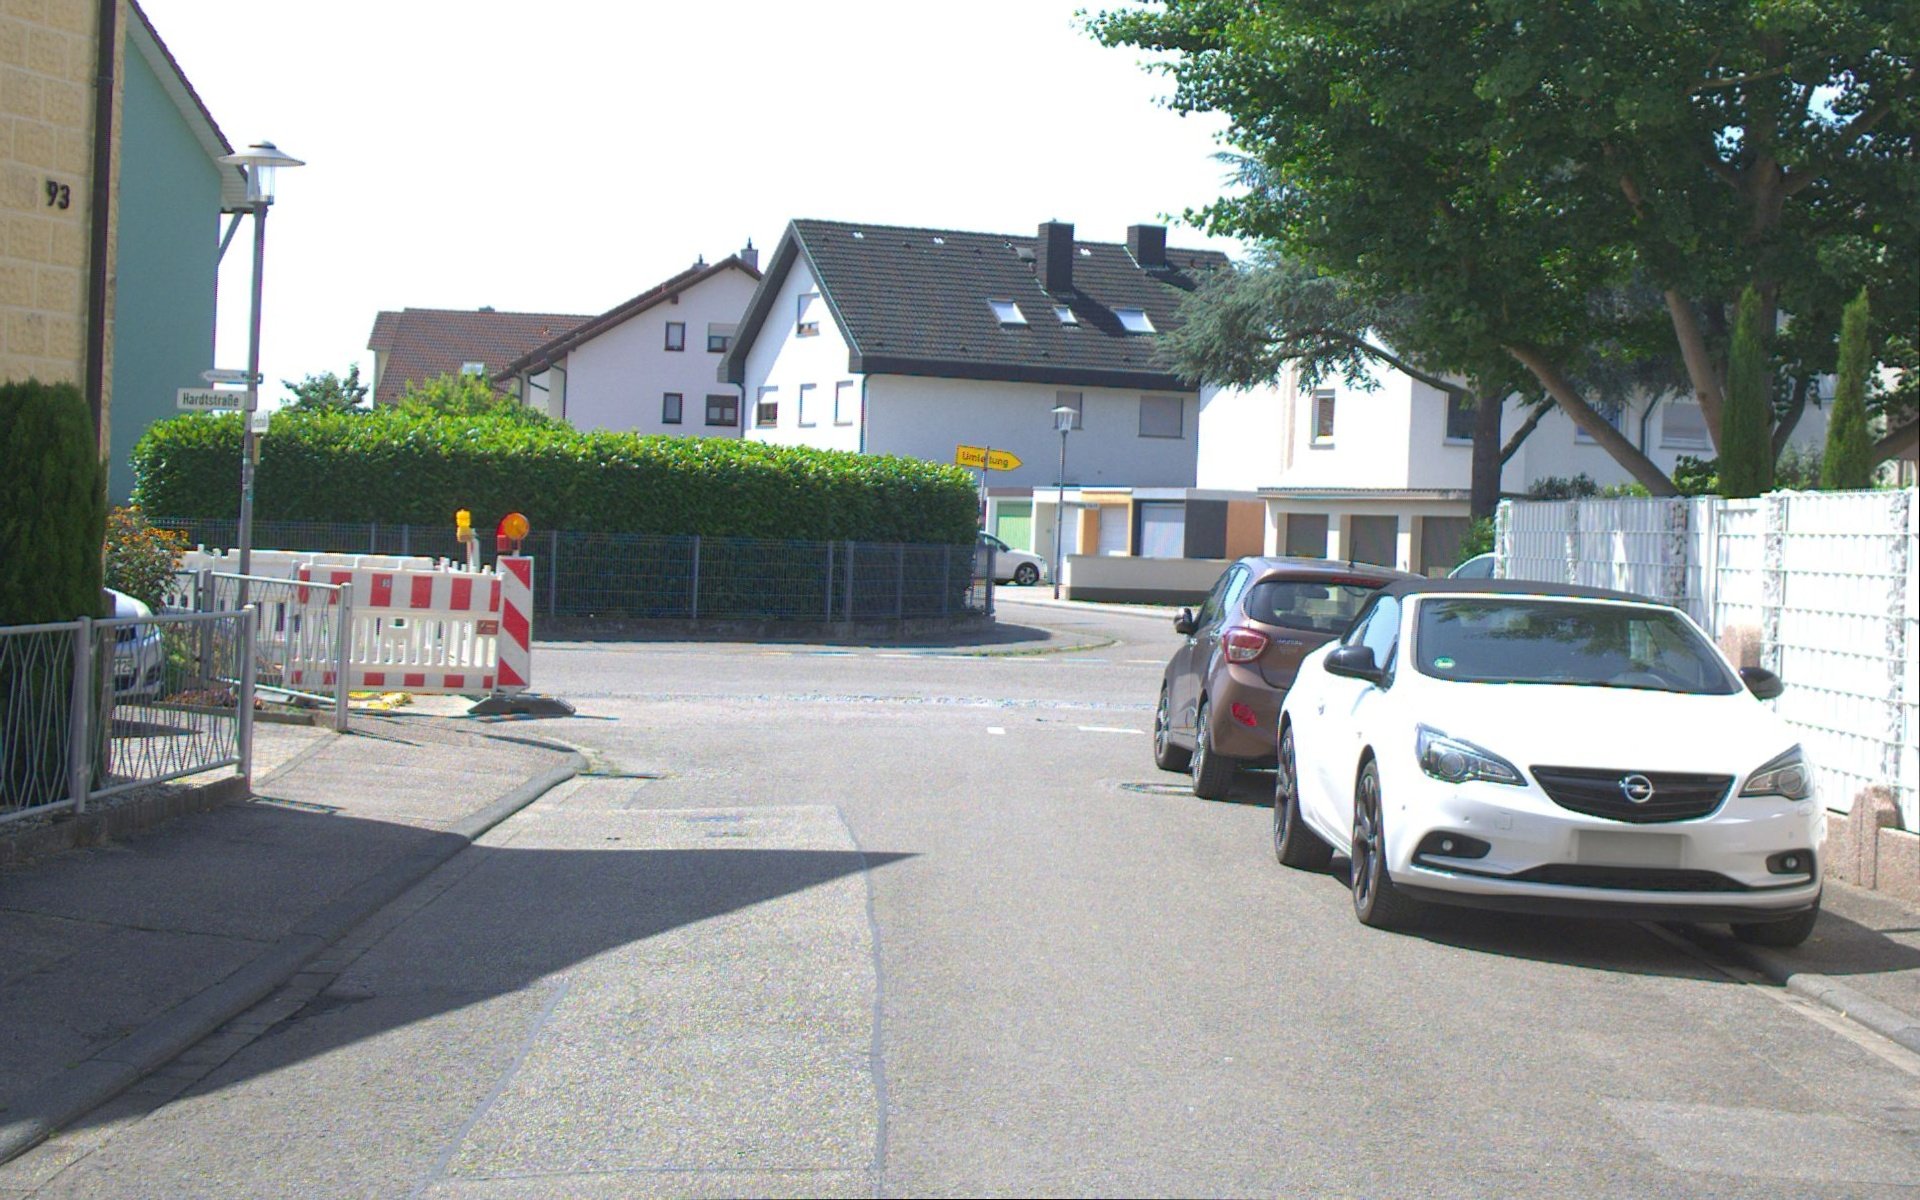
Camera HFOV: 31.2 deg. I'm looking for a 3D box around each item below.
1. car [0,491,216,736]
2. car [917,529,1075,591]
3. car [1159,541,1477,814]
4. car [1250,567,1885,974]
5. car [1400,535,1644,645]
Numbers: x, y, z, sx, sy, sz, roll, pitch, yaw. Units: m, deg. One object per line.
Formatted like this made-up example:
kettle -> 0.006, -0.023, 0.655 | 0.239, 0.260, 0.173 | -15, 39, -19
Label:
car -> -7.240, -0.018, 22.779 | 4.466, 1.480, 1.789 | 3, 1, 31
car -> 0.914, -1.024, 88.305 | 3.598, 1.403, 1.784 | 2, 1, -22
car -> 2.235, 0.425, 22.376 | 1.712, 1.527, 4.035 | 3, 1, 2
car -> 2.524, 0.630, 15.522 | 1.895, 1.424, 4.737 | 3, 1, -1
car -> 8.993, -0.187, 55.338 | 1.797, 1.557, 4.145 | 2, 2, -25
